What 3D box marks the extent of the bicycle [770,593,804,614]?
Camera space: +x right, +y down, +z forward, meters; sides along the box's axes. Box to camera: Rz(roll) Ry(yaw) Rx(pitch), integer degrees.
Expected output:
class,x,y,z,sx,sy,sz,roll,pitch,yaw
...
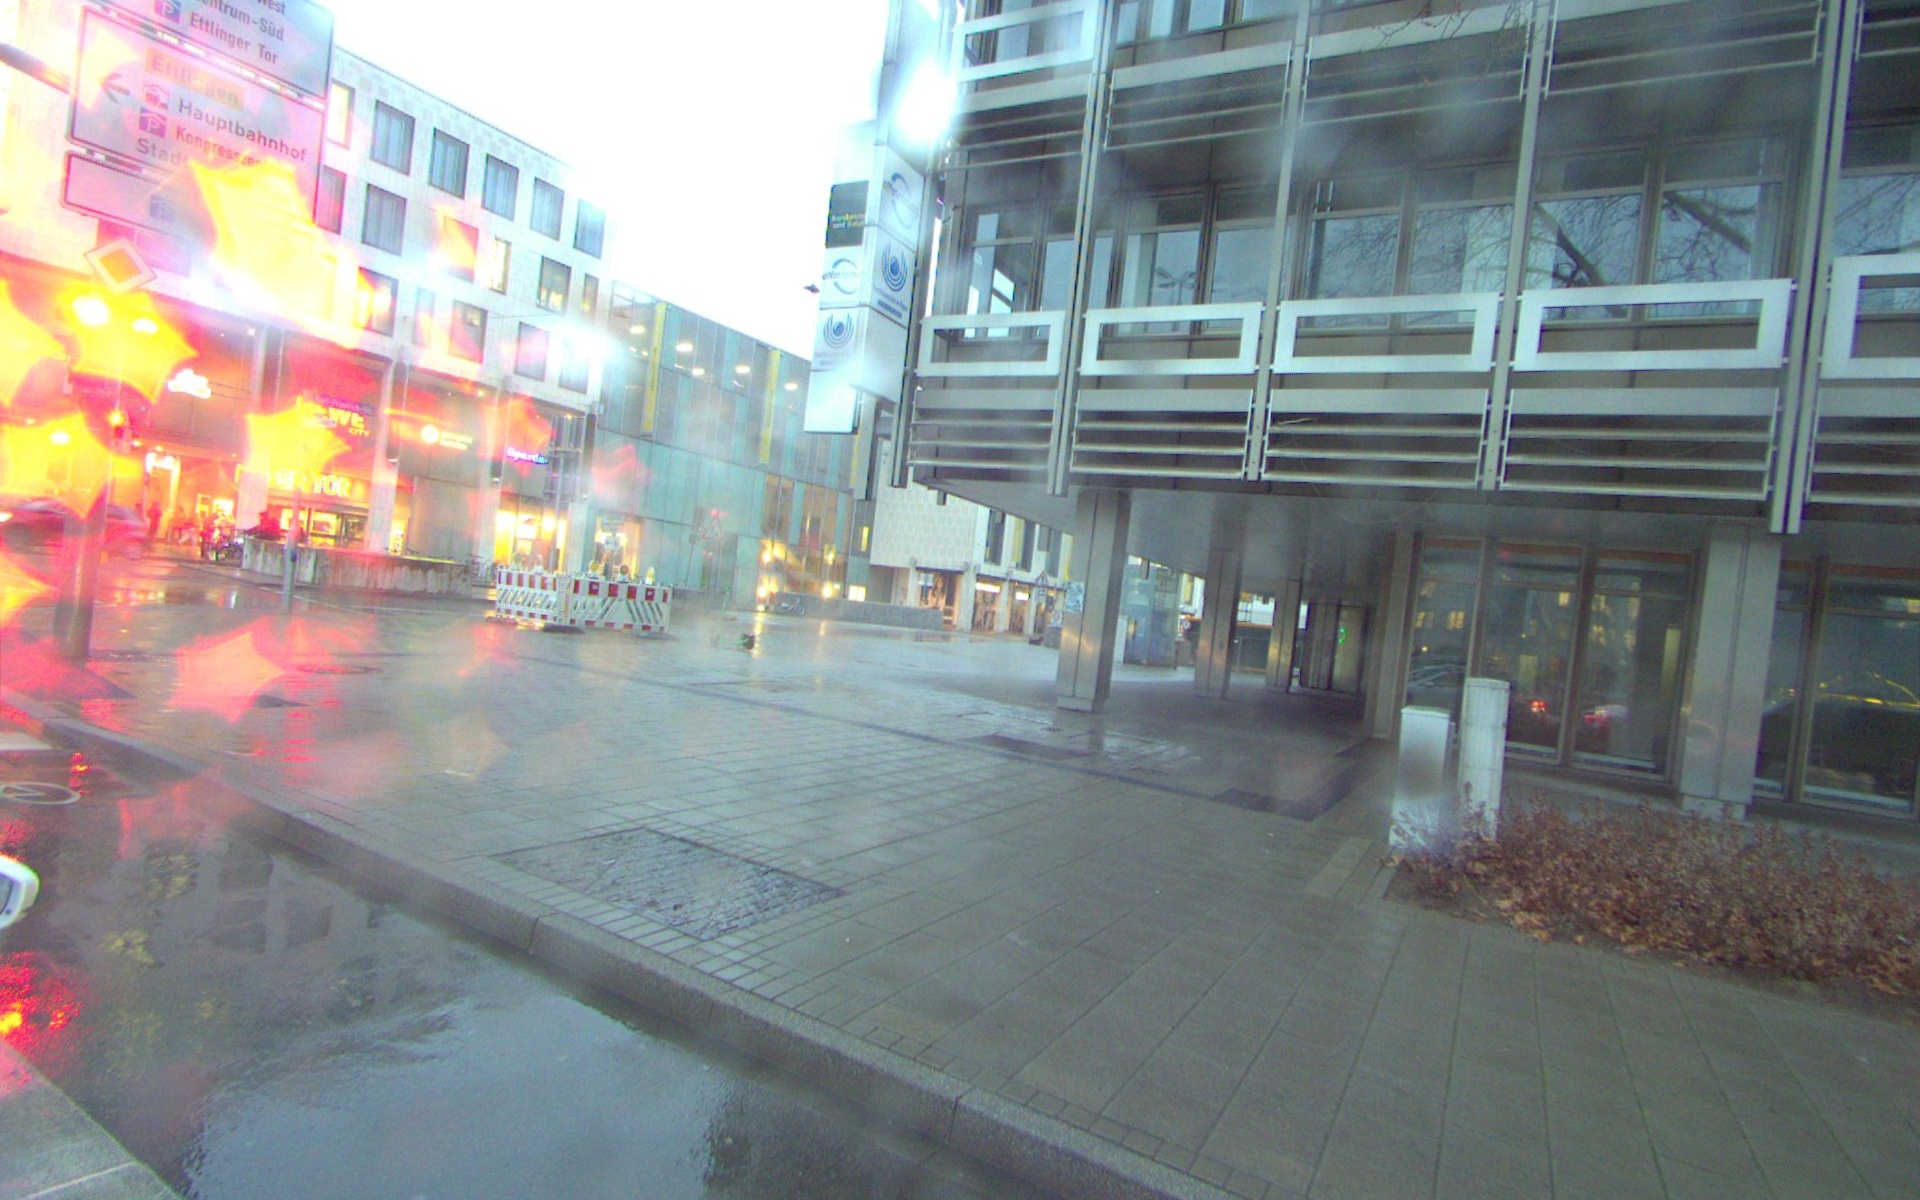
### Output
class,x,y,z,sx,sy,sz,roll,pitch,yaw
bicycle,-10.631,0.210,61.814,2.101,1.046,0.616,6,0,33

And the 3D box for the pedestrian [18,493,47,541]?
class,x,y,z,sx,sy,sz,roll,pitch,yaw
pedestrian,-35.606,-3.191,38.618,0.529,1.739,0.500,6,1,-21

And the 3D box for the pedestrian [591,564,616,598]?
class,x,y,z,sx,sy,sz,roll,pitch,yaw
pedestrian,-18.339,-0.973,51.766,0.697,1.650,0.795,6,-1,31

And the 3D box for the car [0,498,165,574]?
class,x,y,z,sx,sy,sz,roll,pitch,yaw
car,-23.864,-1.705,26.967,1.648,1.601,3.575,6,-1,29

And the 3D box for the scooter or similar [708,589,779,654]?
class,x,y,z,sx,sy,sz,roll,pitch,yaw
scooter or similar,-4.373,0.428,20.265,1.215,1.144,0.606,7,0,32

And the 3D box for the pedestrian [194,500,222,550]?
class,x,y,z,sx,sy,sz,roll,pitch,yaw
pedestrian,-27.141,-2.691,36.317,0.529,1.706,0.546,6,1,-21

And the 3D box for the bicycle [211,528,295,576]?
class,x,y,z,sx,sy,sz,roll,pitch,yaw
bicycle,-20.319,-1.372,28.940,1.839,1.107,0.610,7,0,-44

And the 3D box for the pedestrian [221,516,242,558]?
class,x,y,z,sx,sy,sz,roll,pitch,yaw
pedestrian,-32.290,-2.805,44.571,0.368,1.782,0.512,7,1,31

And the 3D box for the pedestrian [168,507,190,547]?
class,x,y,z,sx,sy,sz,roll,pitch,yaw
pedestrian,-36.128,-3.369,46.548,0.529,1.739,0.500,6,1,-21

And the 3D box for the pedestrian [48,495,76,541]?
class,x,y,z,sx,sy,sz,roll,pitch,yaw
pedestrian,-35.301,-3.223,39.555,0.529,1.739,0.500,6,1,-21

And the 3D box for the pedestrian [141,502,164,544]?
class,x,y,z,sx,sy,sz,roll,pitch,yaw
pedestrian,-35.366,-3.366,44.062,0.529,1.739,0.500,6,1,-21

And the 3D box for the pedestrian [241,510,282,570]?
class,x,y,z,sx,sy,sz,roll,pitch,yaw
pedestrian,-20.149,-1.724,29.031,0.778,1.615,0.605,6,1,-43
